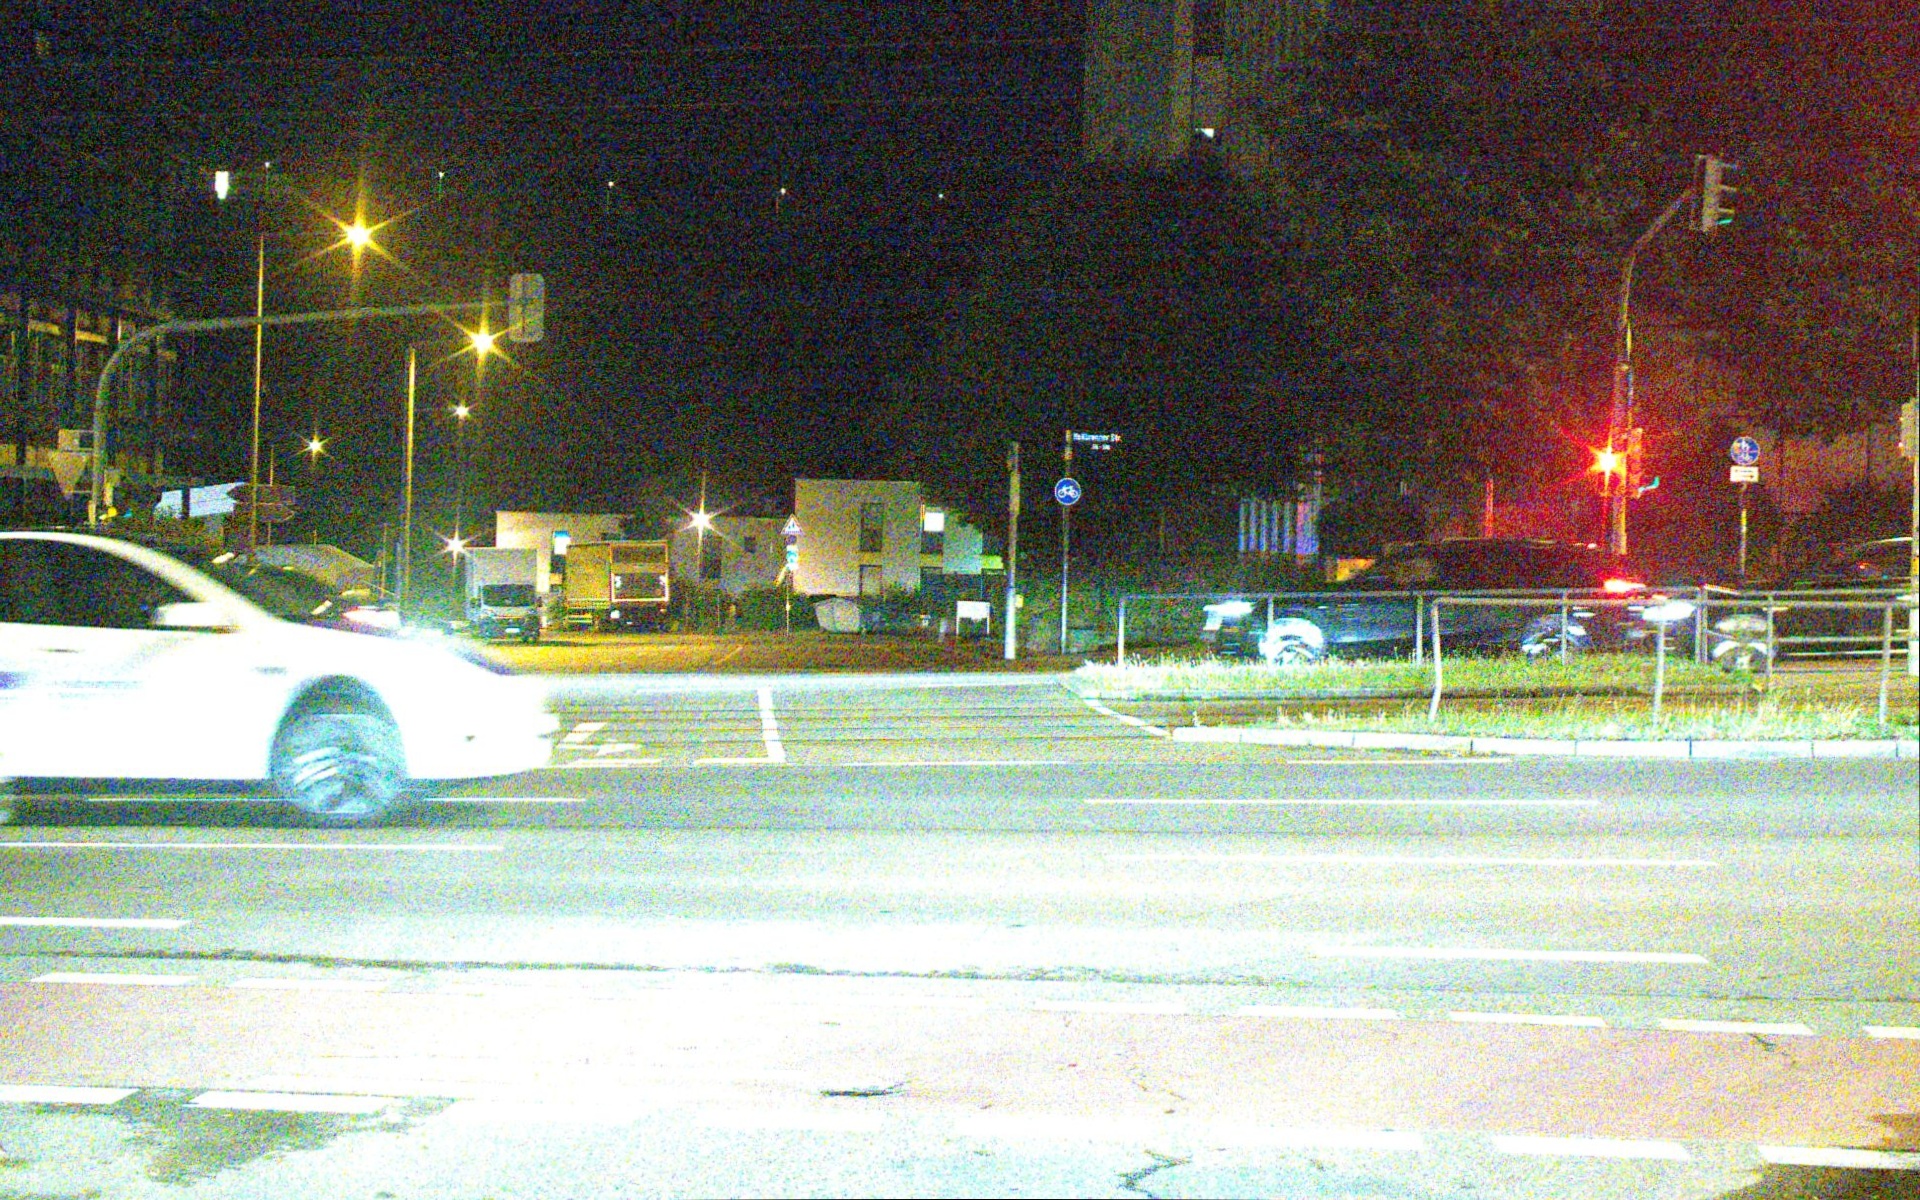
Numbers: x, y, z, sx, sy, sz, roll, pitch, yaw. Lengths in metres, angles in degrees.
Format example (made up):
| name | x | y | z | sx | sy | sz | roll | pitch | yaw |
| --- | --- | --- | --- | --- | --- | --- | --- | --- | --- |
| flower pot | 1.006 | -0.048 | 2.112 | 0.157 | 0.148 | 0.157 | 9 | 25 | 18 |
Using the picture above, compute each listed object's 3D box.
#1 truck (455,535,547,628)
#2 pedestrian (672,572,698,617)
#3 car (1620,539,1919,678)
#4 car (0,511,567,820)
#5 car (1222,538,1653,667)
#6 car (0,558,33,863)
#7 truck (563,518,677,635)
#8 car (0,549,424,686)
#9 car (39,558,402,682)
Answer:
| name | x | y | z | sx | sy | sz | roll | pitch | yaw |
| --- | --- | --- | --- | --- | --- | --- | --- | --- | --- |
| truck | -16.005 | -0.626 | 119.651 | 2.417 | 3.078 | 6.439 | 1 | 0 | -14 |
| pedestrian | -11.806 | -0.218 | 147.634 | 0.849 | 1.905 | 1.007 | 1 | 0 | -18 |
| car | 9.657 | 0.068 | 36.602 | 4.941 | 1.415 | 1.851 | -1 | 0 | 3 |
| car | -4.786 | 0.345 | 19.102 | 4.921 | 1.593 | 1.745 | -1 | 1 | 3 |
| car | 5.499 | 0.026 | 40.061 | 4.819 | 1.415 | 1.851 | -1 | 0 | 3 |
| car | -6.505 | 0.540 | 15.950 | 3.902 | 1.432 | 1.745 | 0 | 2 | 3 |
| truck | -14.783 | -0.997 | 148.845 | 3.359 | 4.826 | 7.908 | 1 | 0 | -17 |
| car | -8.281 | 0.183 | 37.769 | 4.427 | 1.415 | 1.851 | -1 | 0 | 3 |
| car | -8.741 | 0.231 | 40.839 | 3.871 | 1.400 | 1.769 | -1 | 0 | 3 |
